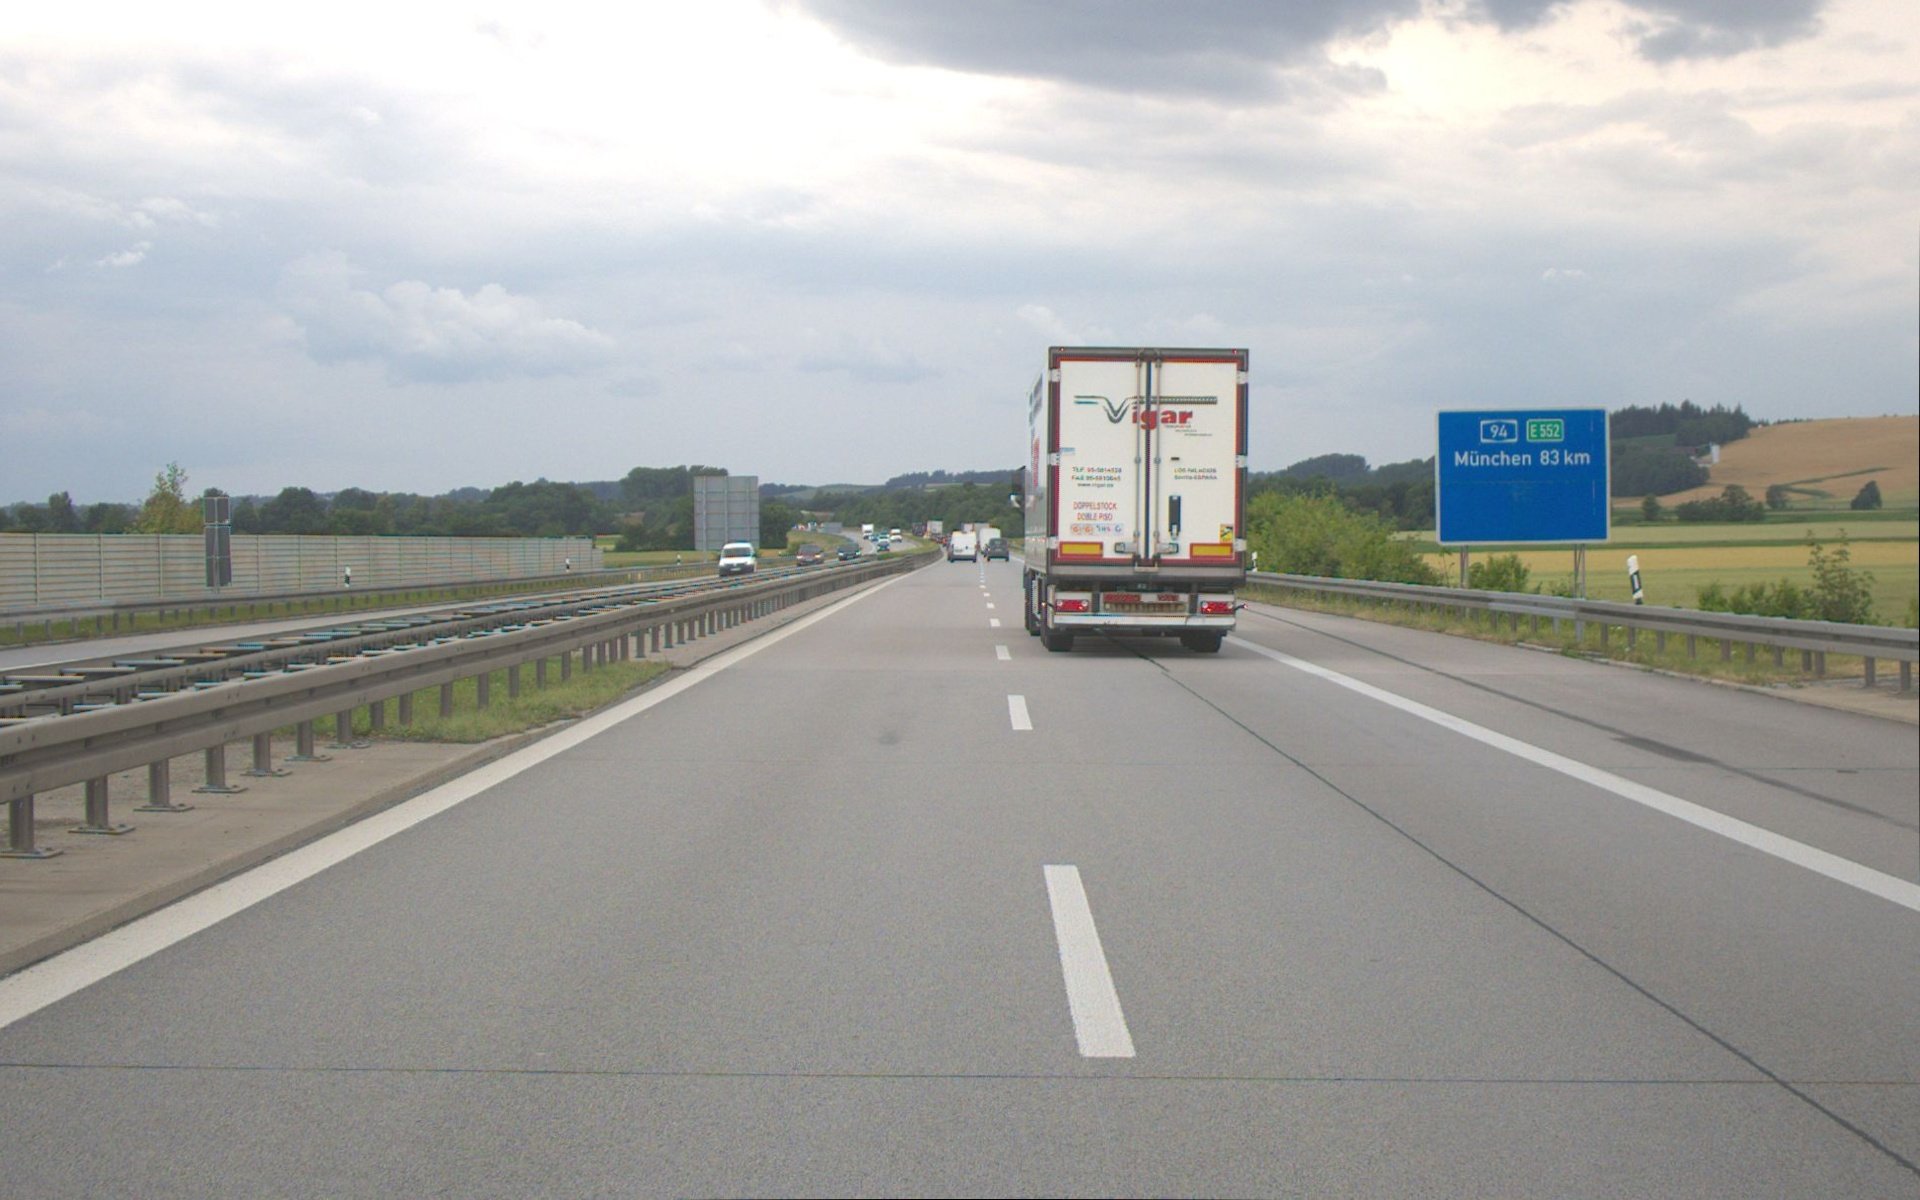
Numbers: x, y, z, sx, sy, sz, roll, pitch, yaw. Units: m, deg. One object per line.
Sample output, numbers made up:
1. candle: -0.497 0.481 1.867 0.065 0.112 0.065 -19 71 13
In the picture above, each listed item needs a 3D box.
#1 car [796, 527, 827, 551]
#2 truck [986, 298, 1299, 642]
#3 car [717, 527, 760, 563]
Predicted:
1. car: -10.543 -4.314 244.453 1.895 1.626 4.174 -3 1 0
2. truck: 2.405 -1.845 52.197 3.672 4.397 16.342 0 1 -1
3. car: -11.302 -2.823 175.832 1.755 1.736 4.914 4 1 0
